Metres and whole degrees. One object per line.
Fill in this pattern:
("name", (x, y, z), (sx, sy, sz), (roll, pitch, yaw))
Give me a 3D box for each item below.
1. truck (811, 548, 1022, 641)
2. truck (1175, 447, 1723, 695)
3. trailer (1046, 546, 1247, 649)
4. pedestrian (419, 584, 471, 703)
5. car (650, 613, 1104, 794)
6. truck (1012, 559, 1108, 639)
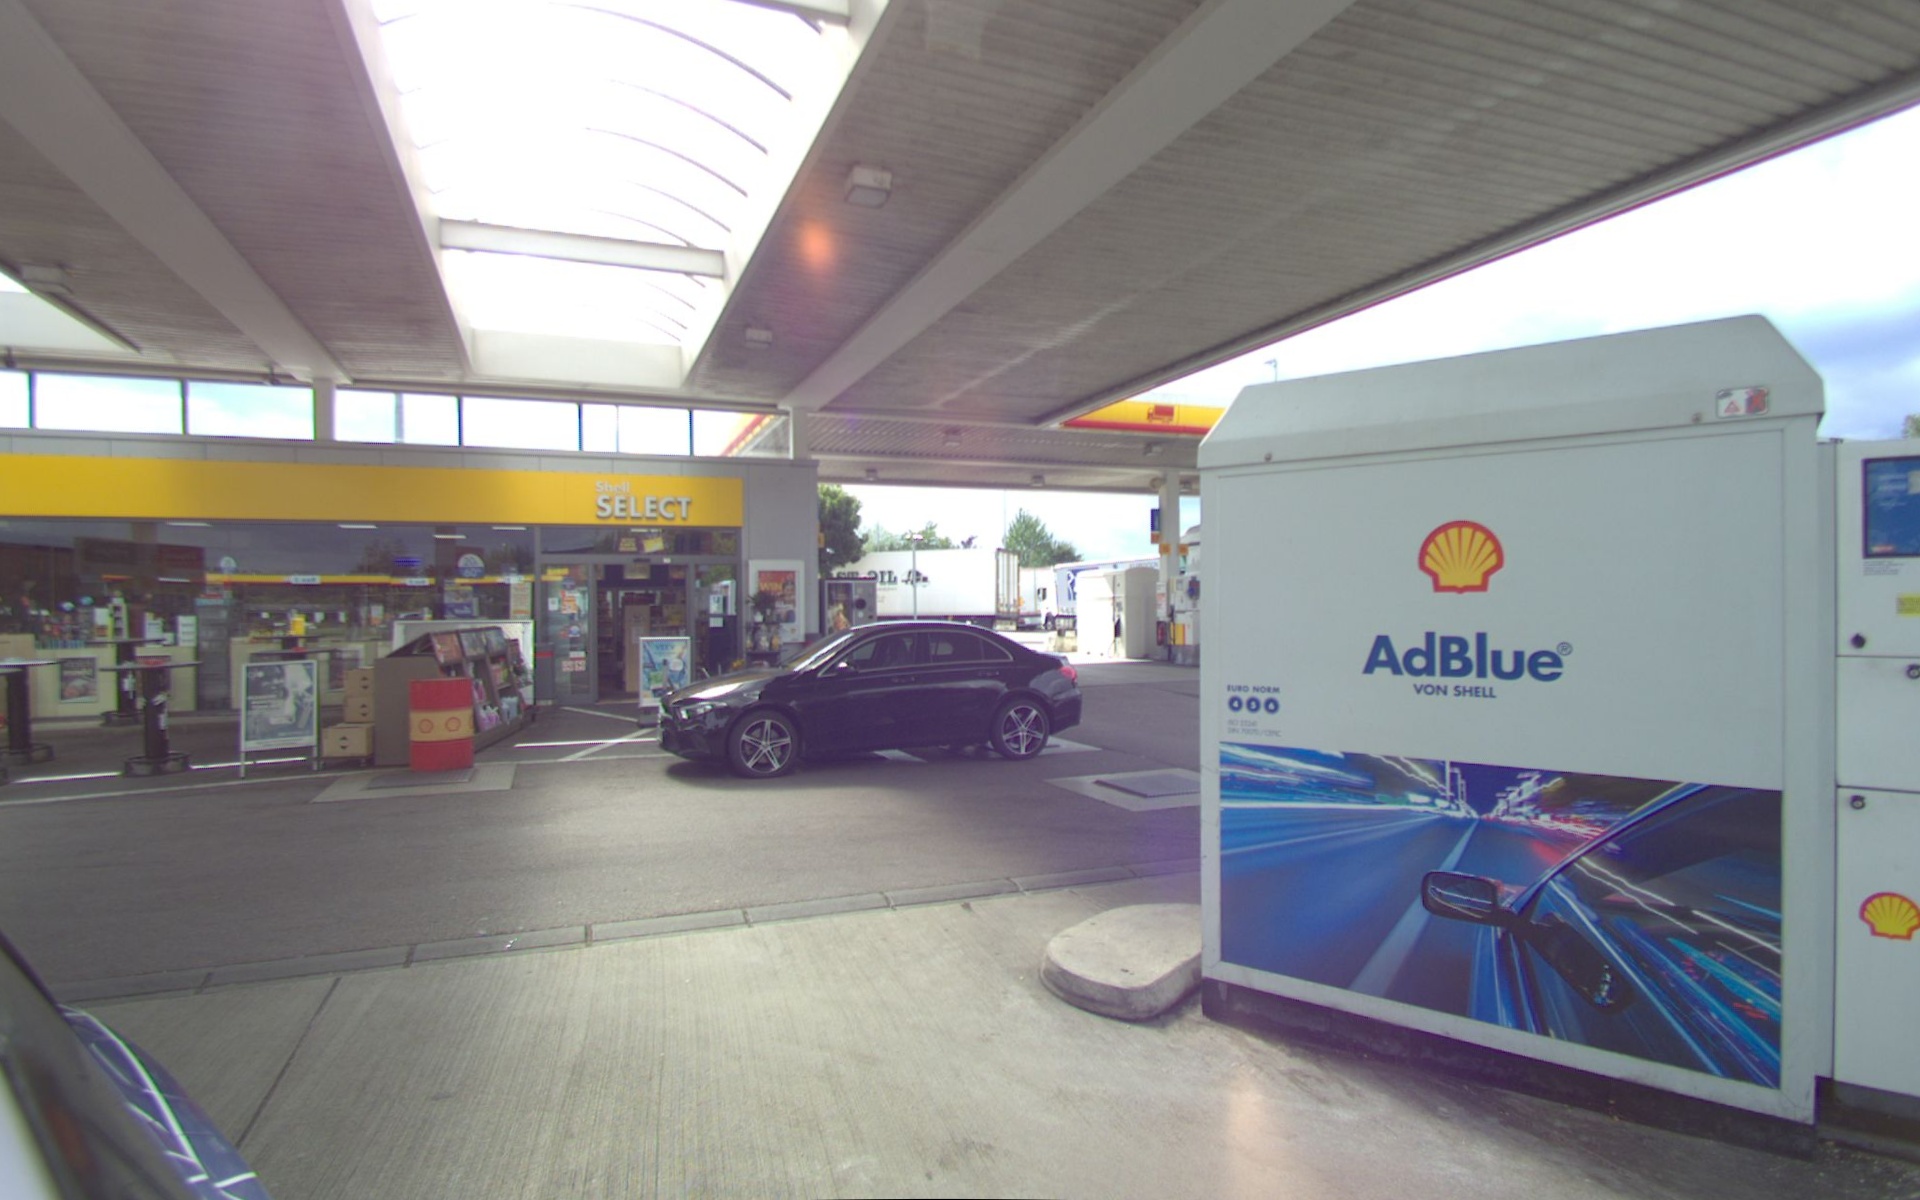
("truck", (-2.103, -0.183, 46.845), (9.536, 4.036, 2.772), (-1, 0, 25))
("truck", (9.659, -0.465, 23.108), (2.491, 4.069, 12.947), (-1, 0, -22))
("trailer", (9.104, -0.102, 52.680), (3.294, 4.600, 14.397), (-1, 0, -20))
("pedestrian", (-8.505, 0.708, 16.730), (0.503, 1.920, 0.580), (-1, 0, 8))
("car", (-0.879, 0.941, 10.605), (4.394, 1.511, 1.785), (-1, 0, -21))
("truck", (5.926, -0.052, 61.228), (3.333, 4.538, 6.249), (-1, 0, -20))
